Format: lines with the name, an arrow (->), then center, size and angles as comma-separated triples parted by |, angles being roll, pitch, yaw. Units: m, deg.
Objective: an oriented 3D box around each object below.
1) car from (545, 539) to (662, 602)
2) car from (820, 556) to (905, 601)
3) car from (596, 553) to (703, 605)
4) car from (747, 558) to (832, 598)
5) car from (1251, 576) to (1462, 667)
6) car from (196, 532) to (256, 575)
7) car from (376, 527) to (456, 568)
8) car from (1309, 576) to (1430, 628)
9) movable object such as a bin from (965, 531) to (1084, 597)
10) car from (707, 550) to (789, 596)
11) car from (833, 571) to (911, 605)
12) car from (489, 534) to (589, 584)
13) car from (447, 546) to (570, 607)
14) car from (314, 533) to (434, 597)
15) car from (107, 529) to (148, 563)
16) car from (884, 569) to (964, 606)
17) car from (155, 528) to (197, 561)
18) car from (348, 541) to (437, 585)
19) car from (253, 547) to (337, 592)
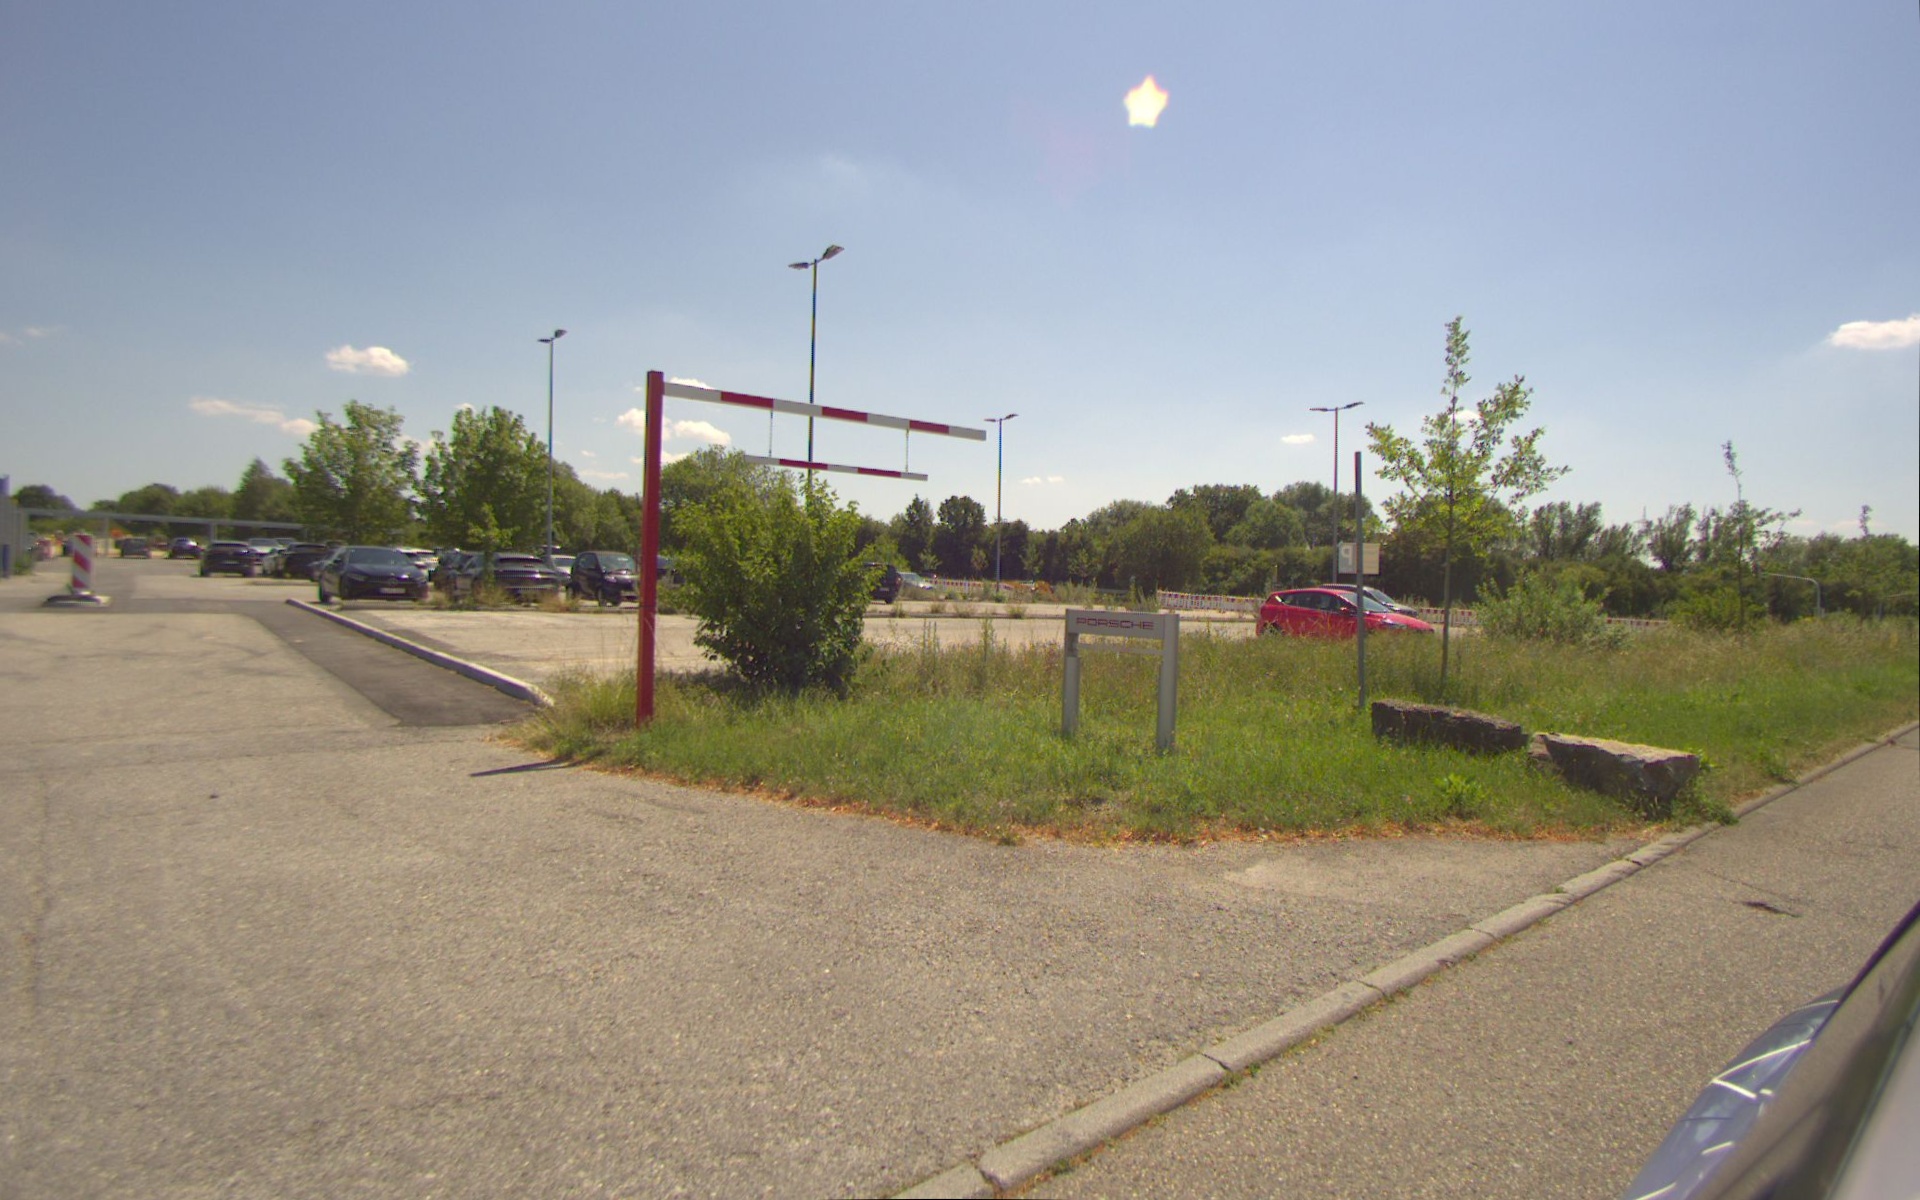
car -> -10.239, -0.876, 28.893 | 1.892, 1.661, 3.997 | 1, 2, -39
car -> -4.492, -1.008, 46.177 | 1.727, 1.779, 3.994 | 2, 2, -42
car -> -11.989, -0.823, 39.042 | 3.982, 1.660, 1.971 | 5, 0, 39
car -> -8.562, -1.098, 50.806 | 3.982, 1.660, 1.971 | 5, 0, 39
car -> 8.886, 0.409, 22.911 | 1.892, 1.745, 3.997 | 1, 2, -39
car -> -32.604, -2.070, 44.927 | 1.762, 1.660, 3.996 | 5, 0, -40
car -> -26.628, -2.587, 49.491 | 3.982, 1.660, 1.971 | 5, 0, 39
car -> 17.872, 0.043, 44.296 | 1.906, 1.938, 4.472 | 3, 1, -41
movable object such as a bin -> 4.725, -2.617, 74.161 | 7.993, 4.095, 2.973 | 5, 0, 16
car -> -10.308, -1.304, 49.024 | 1.966, 1.905, 3.992 | 5, 0, -44
car -> -4.696, -0.660, 53.838 | 3.982, 1.438, 1.696 | 5, 0, 39
car -> -17.091, -1.670, 41.028 | 3.982, 1.660, 1.971 | 5, 0, 39
car -> -11.679, -0.630, 26.050 | 1.892, 1.412, 3.997 | 1, 2, -39
car -> -14.324, -0.872, 24.637 | 1.892, 1.412, 3.997 | 1, 2, -39
car -> -57.335, -3.720, 69.674 | 1.965, 2.038, 3.995 | 5, 0, -41
car -> -1.974, -0.683, 55.356 | 3.982, 1.660, 1.971 | 5, 0, 39
car -> -55.438, -3.917, 71.530 | 1.965, 2.038, 3.995 | 5, 0, -41
car -> -19.138, -1.256, 34.076 | 1.668, 1.357, 3.991 | 0, 3, -44
car -> -30.096, -1.392, 45.786 | 3.982, 1.660, 1.971 | 5, 0, 39
